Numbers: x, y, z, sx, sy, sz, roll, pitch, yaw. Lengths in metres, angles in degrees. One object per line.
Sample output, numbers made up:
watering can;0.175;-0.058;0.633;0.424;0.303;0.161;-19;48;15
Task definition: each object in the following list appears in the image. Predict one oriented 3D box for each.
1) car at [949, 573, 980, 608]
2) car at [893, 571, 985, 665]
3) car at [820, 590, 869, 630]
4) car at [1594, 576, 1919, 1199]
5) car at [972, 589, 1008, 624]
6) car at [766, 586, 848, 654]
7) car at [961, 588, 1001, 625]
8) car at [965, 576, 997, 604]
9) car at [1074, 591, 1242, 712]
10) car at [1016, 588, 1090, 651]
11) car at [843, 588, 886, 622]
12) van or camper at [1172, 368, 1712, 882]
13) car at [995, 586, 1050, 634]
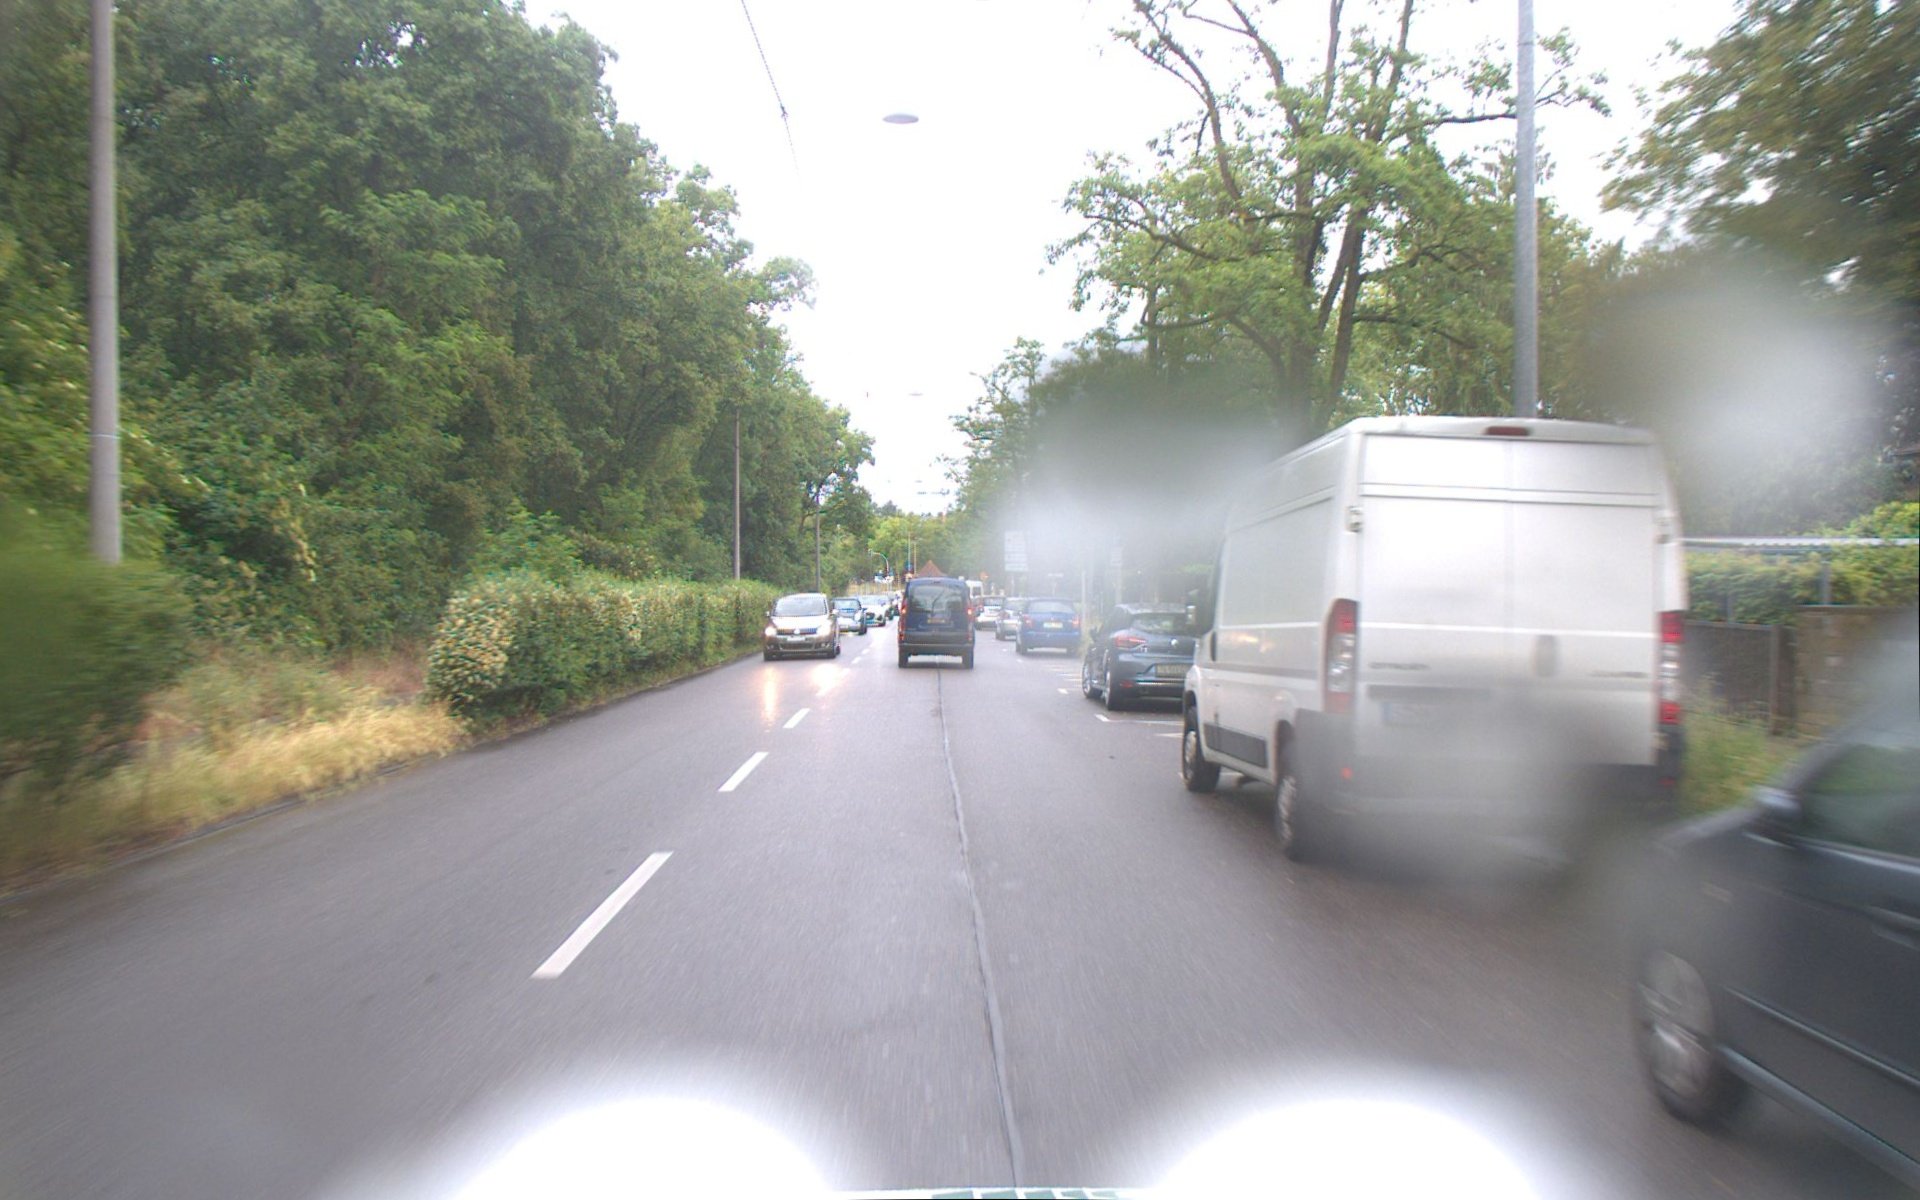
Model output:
car;0.331;-0.708;121.361;2.160;2.492;4.728;0;0;-1
car;-0.490;0.340;35.281;1.732;1.862;3.539;1;1;-4
car;-4.400;0.358;63.581;1.652;1.379;3.723;-2;1;-1
car;2.909;0.717;3.703;1.592;1.489;3.809;1;1;2
car;1.442;0.301;79.858;1.663;1.551;3.868;1;1;1
car;-3.734;0.461;40.888;1.695;1.518;3.999;-1;1;-1
car;0.914;0.291;73.602;1.600;1.536;2.956;1;1;-2
car;1.190;-0.577;96.075;1.664;1.551;3.866;1;1;-2
car;2.752;0.674;23.819;1.706;1.505;3.961;1;1;-3
car;2.442;0.492;44.449;1.686;1.532;4.050;1;1;-1
car;-4.660;0.231;81.089;1.818;1.494;4.446;-2;1;-1
van or camper;2.914;0.087;11.490;2.036;2.696;5.345;1;1;-1
car;2.143;0.307;57.651;1.586;1.534;3.833;1;1;-3
